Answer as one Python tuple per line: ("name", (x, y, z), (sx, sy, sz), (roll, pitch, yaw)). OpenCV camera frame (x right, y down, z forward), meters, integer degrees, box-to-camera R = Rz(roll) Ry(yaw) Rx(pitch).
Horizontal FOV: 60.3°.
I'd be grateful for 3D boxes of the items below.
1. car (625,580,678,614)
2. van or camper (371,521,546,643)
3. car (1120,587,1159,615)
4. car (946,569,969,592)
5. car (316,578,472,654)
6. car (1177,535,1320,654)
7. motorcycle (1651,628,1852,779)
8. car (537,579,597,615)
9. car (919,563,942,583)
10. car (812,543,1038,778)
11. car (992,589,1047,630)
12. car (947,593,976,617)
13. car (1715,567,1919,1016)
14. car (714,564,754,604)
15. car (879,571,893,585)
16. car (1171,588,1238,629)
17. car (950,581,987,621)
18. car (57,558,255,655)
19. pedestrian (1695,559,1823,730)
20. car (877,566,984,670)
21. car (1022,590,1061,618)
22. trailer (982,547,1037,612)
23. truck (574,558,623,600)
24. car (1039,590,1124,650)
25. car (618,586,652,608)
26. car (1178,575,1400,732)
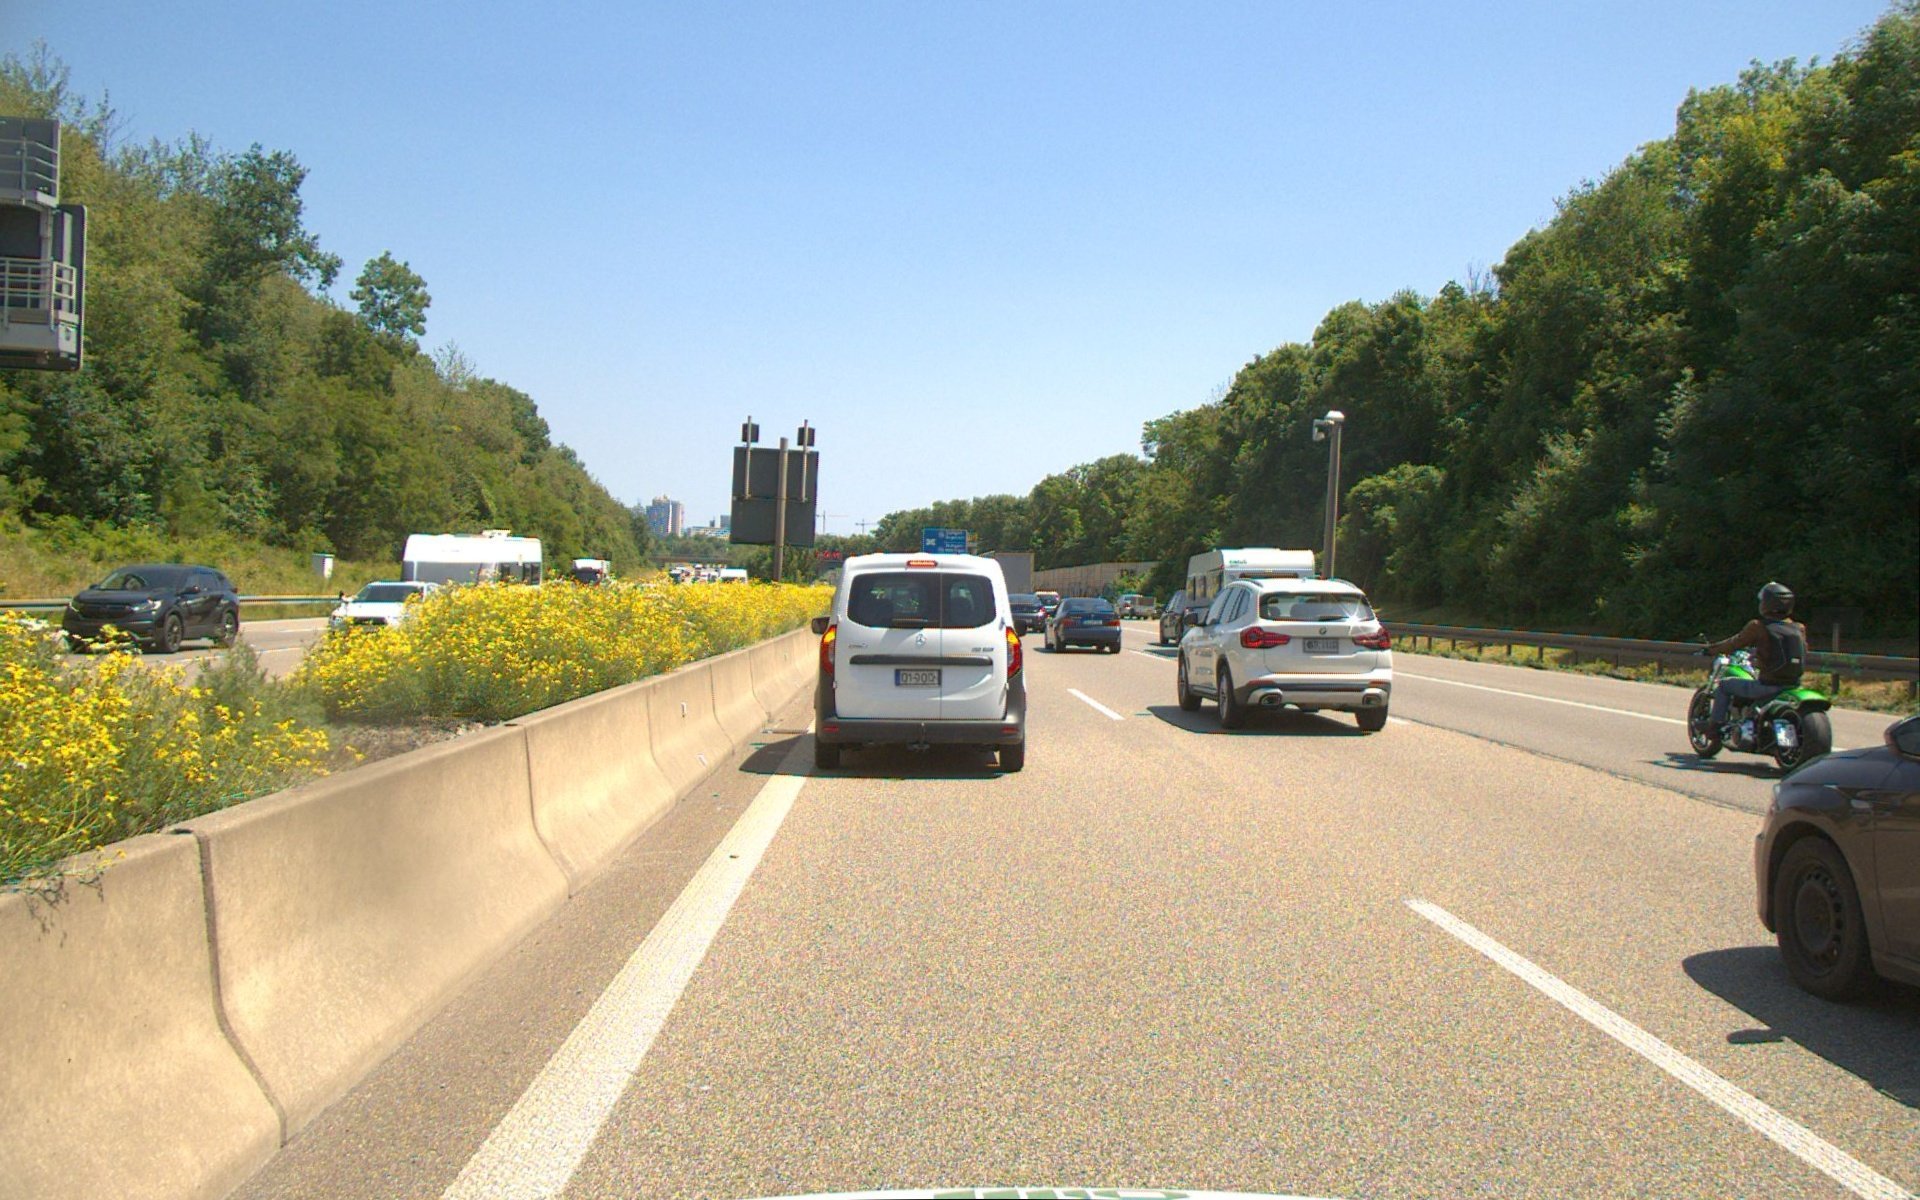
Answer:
("car", (-15.463, -0.159, 83.120), (1.953, 1.602, 3.999), (1, 0, -1))
("van or camper", (-12.064, -0.429, 40.438), (2.262, 2.682, 7.396), (1, 0, -2))
("car", (10.357, 0.061, 95.843), (1.752, 1.545, 3.999), (1, 0, -1))
("car", (-0.233, -1.751, 149.397), (1.953, 2.049, 3.999), (1, 1, -1))
("car", (-11.663, 0.292, 34.404), (1.720, 1.464, 4.608), (1, 0, -1))
("car", (7.295, -0.157, 42.605), (2.429, 2.814, 6.218), (1, 0, -1))
("motorcycle", (7.261, 0.905, 15.325), (0.841, 1.202, 2.277), (1, 1, 3))
("car", (-18.482, -0.155, 77.962), (1.953, 1.602, 3.999), (1, 0, -1))
("car", (-2.969, -2.712, 166.326), (1.955, 2.049, 3.996), (1, 1, -5))
("car", (-0.340, 0.464, 15.099), (1.766, 1.839, 3.999), (1, 0, -2))
("car", (2.160, 0.332, 61.306), (1.787, 1.449, 3.999), (1, 0, -1))
("car", (0.079, 0.320, 106.467), (1.787, 1.472, 3.999), (1, 0, -1))
("car", (4.228, 0.691, 4.935), (1.801, 1.539, 4.400), (1, 1, -2))
("car", (-15.266, -1.089, 111.850), (1.953, 2.586, 5.907), (1, 0, -1))
("car", (-10.739, -3.221, 240.831), (1.953, 2.049, 3.999), (1, 0, -1))
("car", (9.047, 0.295, 61.475), (1.787, 1.449, 3.999), (1, 0, -1))
("car", (0.397, 0.027, 85.937), (1.787, 2.024, 3.999), (1, 0, -1))
("car", (-15.377, 0.097, 31.904), (1.720, 1.725, 4.421), (1, 0, -1))
("pedestrian", (7.258, 0.389, 15.050), (0.834, 1.504, 0.638), (1, 1, 3))
("car", (-0.595, 0.315, 32.533), (1.953, 1.892, 3.999), (1, 0, -1))
("car", (4.368, 0.215, 89.012), (1.787, 1.449, 3.999), (1, 0, -1))
("trailer", (3.188, -1.316, 109.535), (3.019, 4.055, 10.320), (1, 0, -1))
("truck", (-27.192, -1.562, 124.766), (2.358, 3.058, 7.455), (1, 0, -3))
("car", (3.081, 0.480, 42.566), (1.787, 1.449, 3.999), (1, 0, -1))
("car", (-22.512, -0.189, 114.652), (1.752, 1.479, 3.540), (1, 0, -1))
("car", (3.801, 0.548, 19.750), (1.833, 1.636, 3.879), (1, 1, 0))
